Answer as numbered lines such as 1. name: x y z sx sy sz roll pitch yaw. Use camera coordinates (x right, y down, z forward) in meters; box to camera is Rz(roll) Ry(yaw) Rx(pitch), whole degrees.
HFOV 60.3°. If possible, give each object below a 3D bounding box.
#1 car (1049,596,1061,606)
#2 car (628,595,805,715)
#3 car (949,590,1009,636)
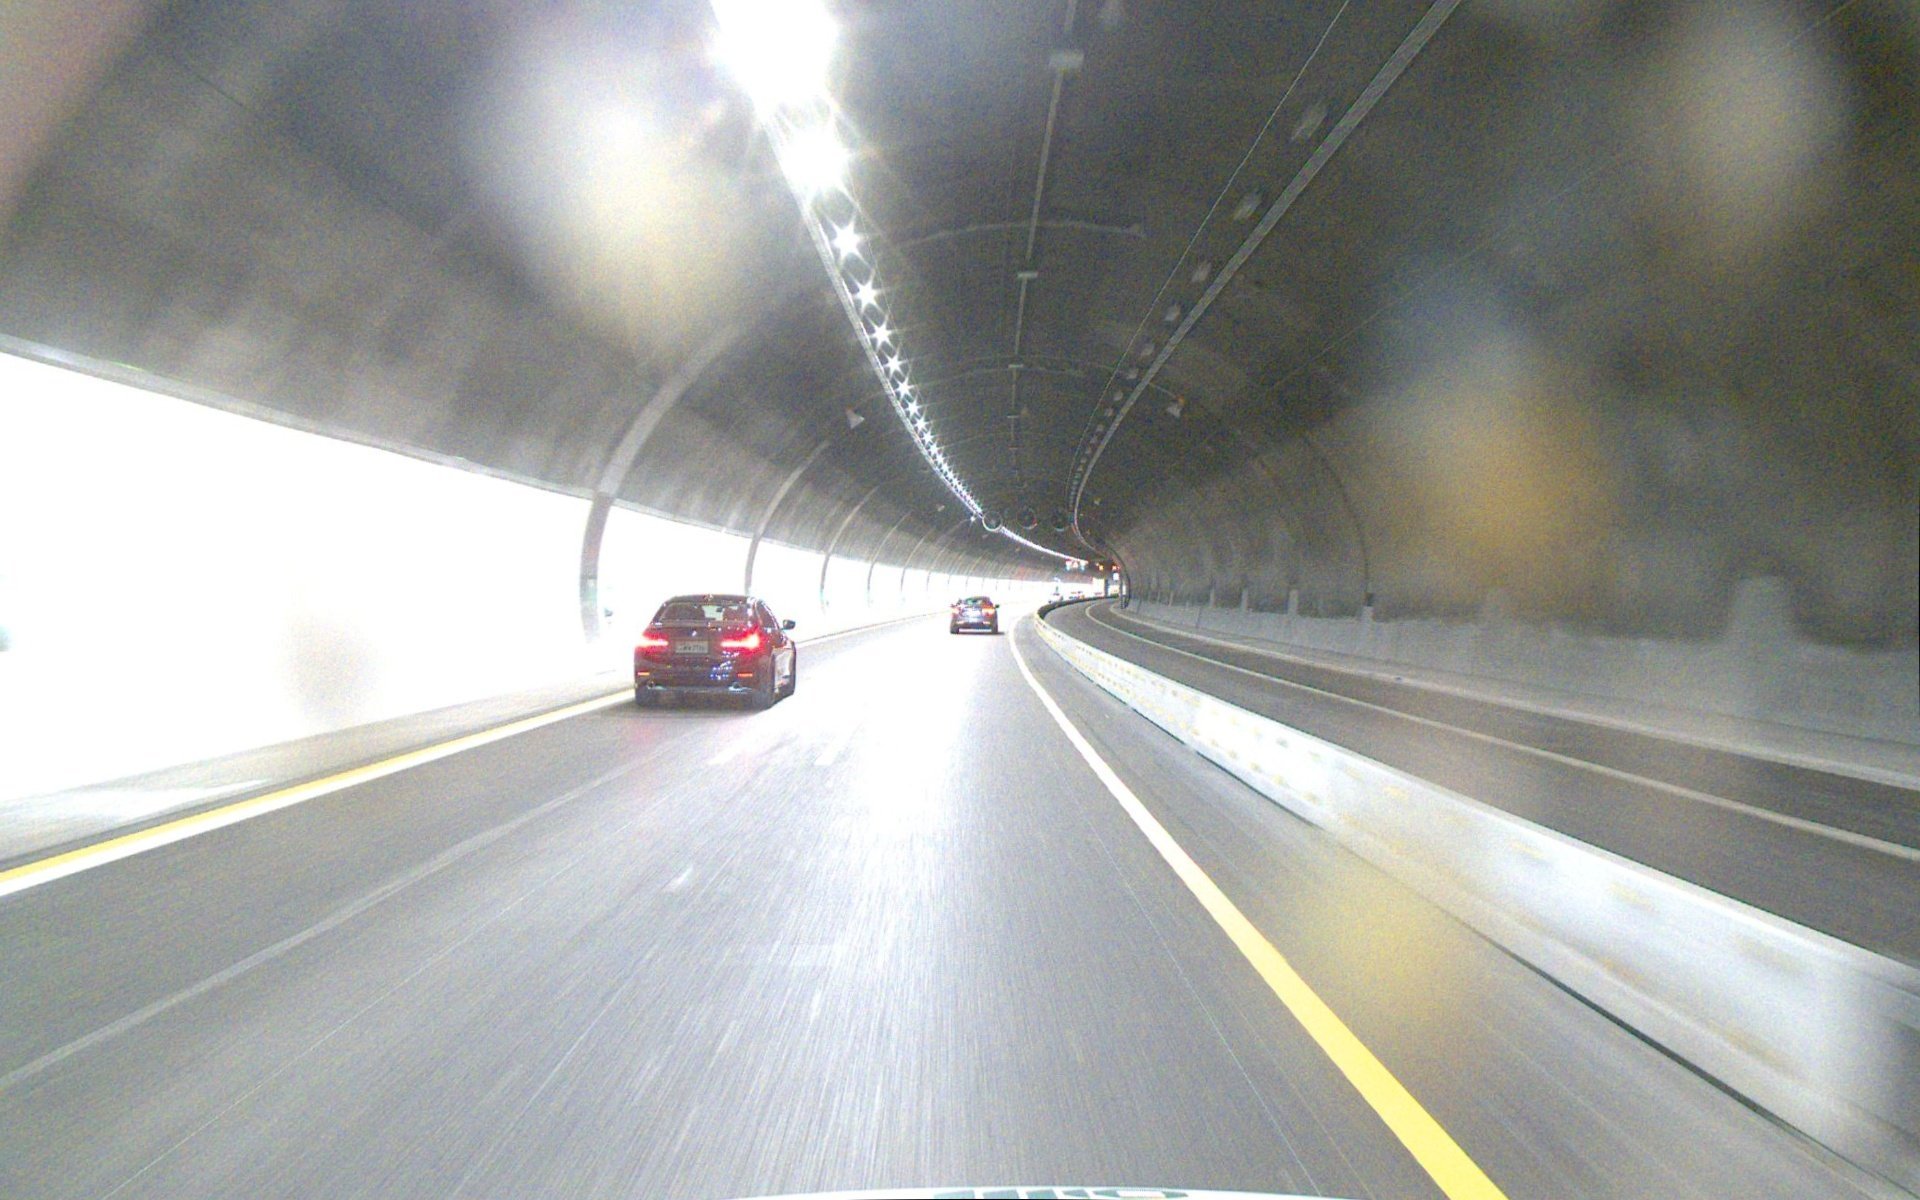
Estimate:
1. car: 12.905 0.146 224.345 1.562 1.356 3.752 0 0 2
2. car: -3.262 0.680 23.042 1.741 1.463 4.882 1 0 0
3. car: 0.775 0.467 64.268 2.096 1.735 4.002 0 0 4
